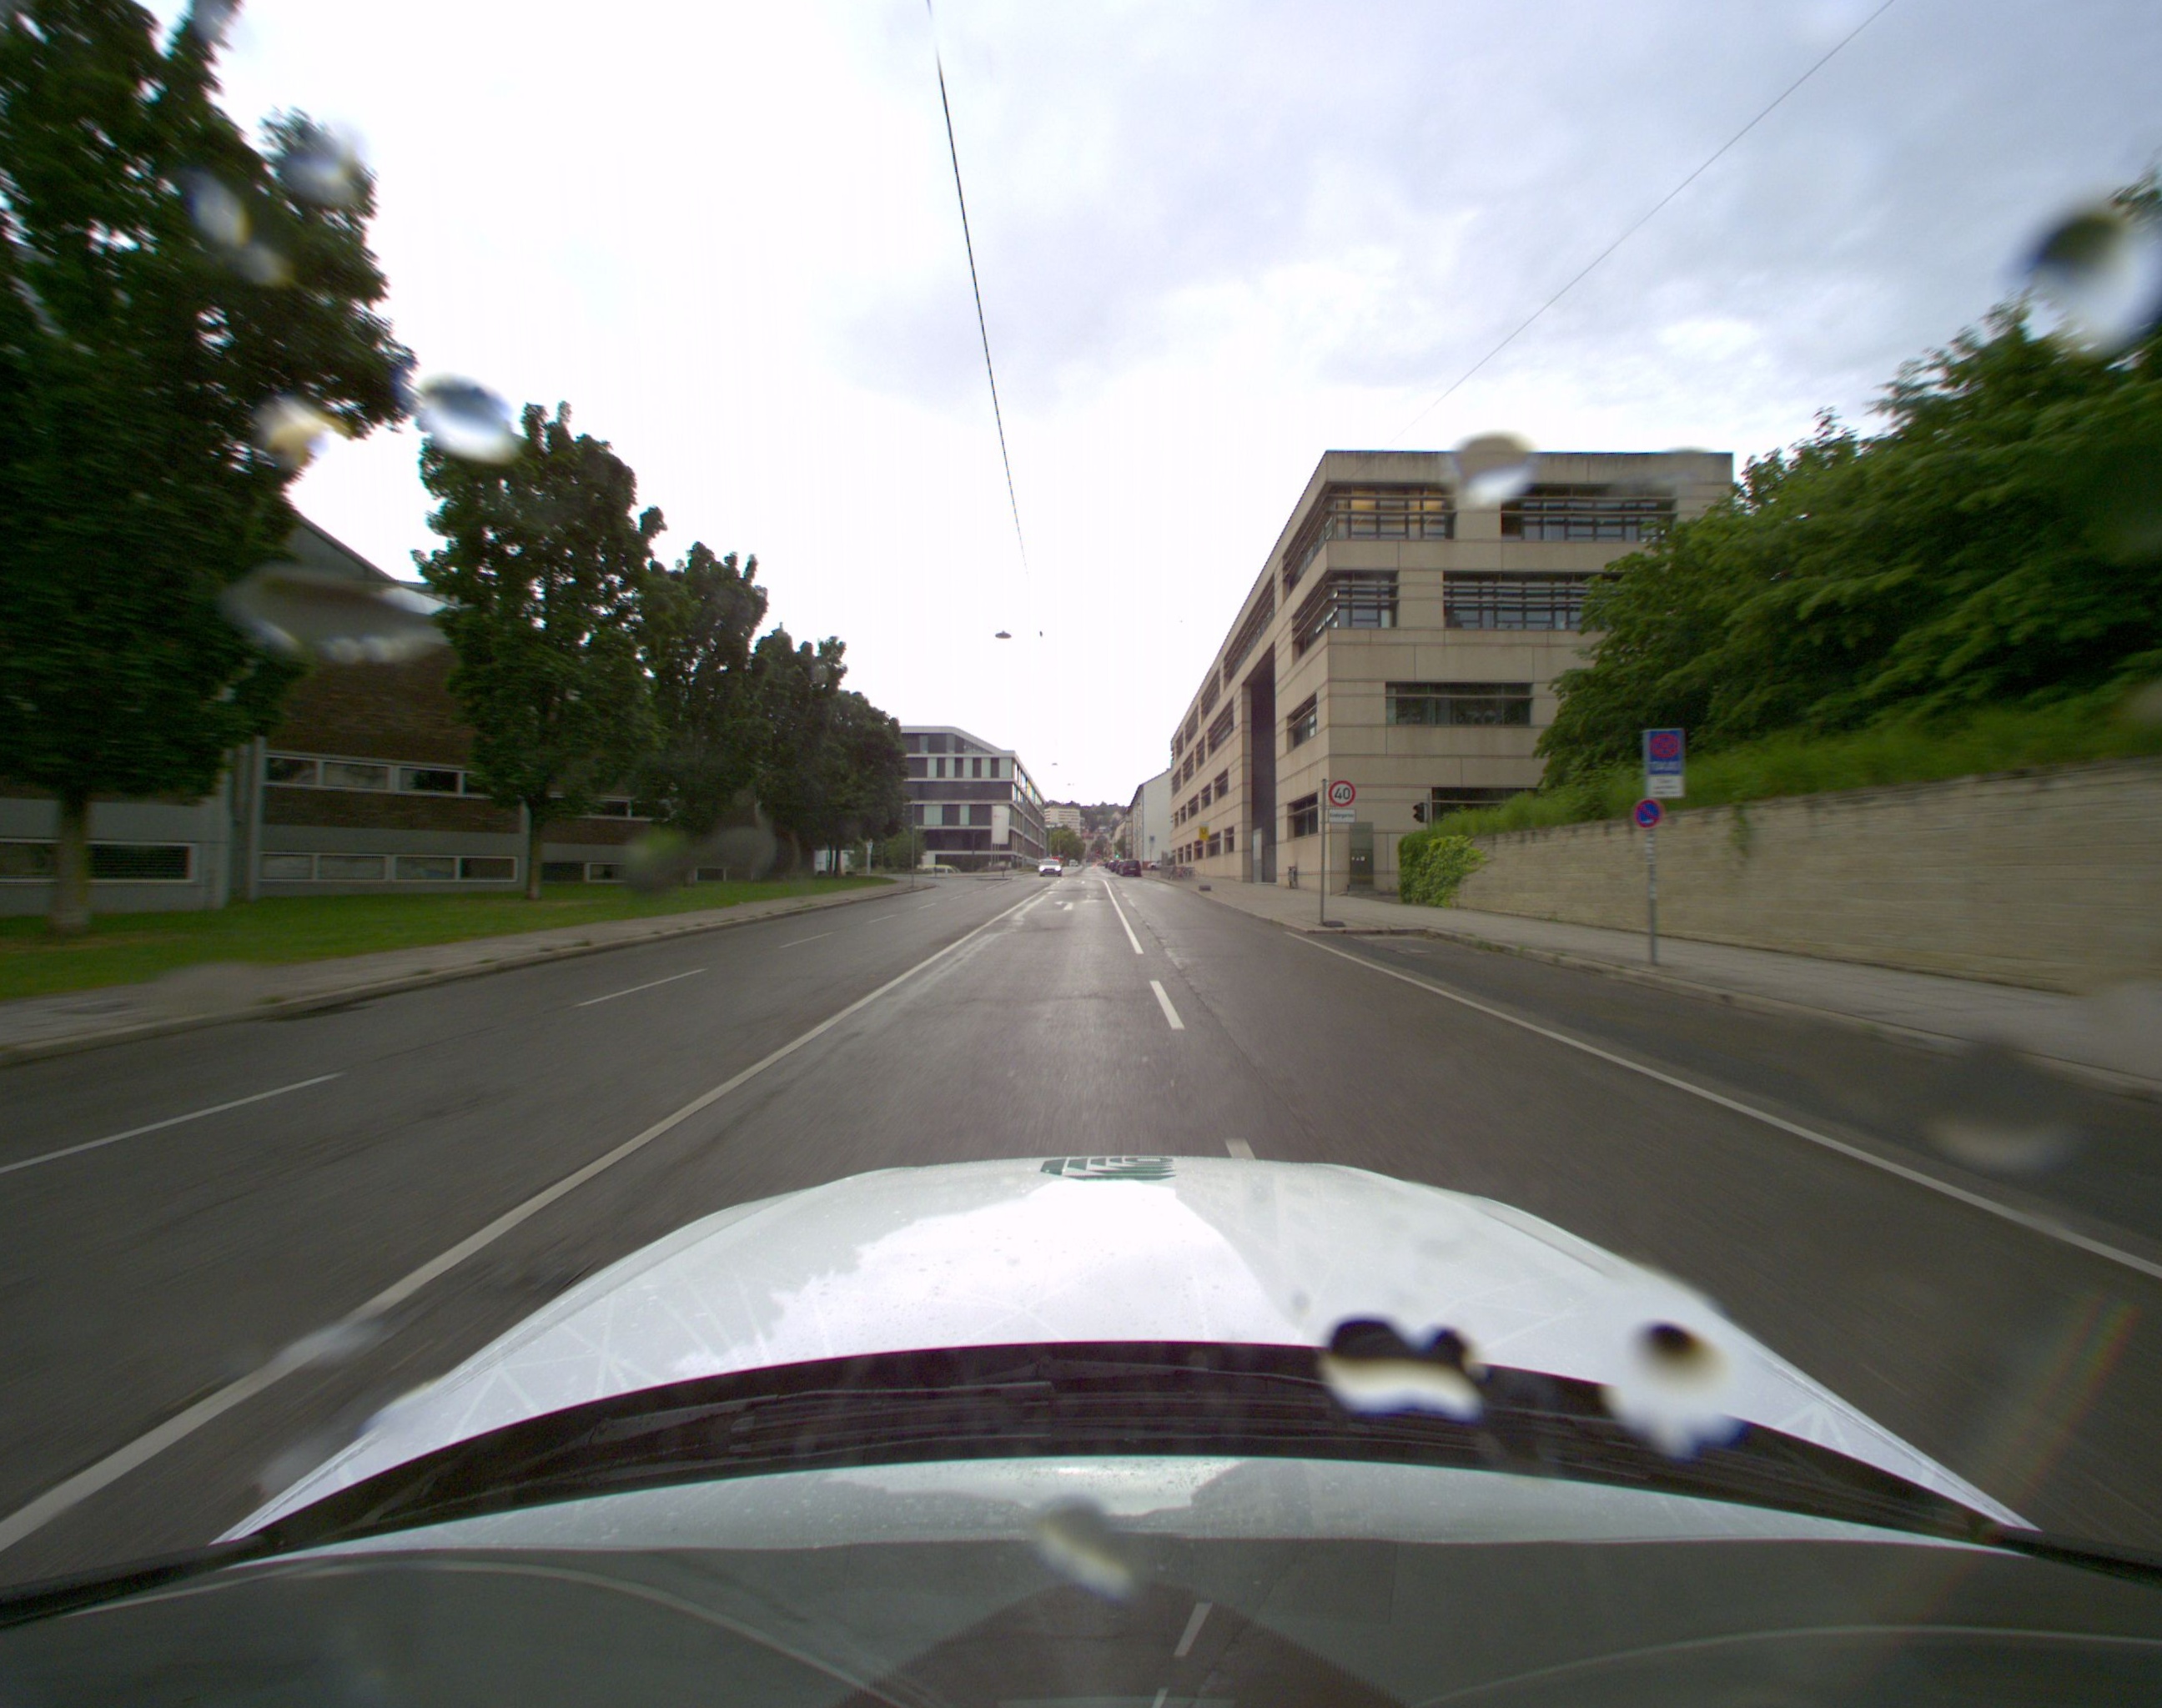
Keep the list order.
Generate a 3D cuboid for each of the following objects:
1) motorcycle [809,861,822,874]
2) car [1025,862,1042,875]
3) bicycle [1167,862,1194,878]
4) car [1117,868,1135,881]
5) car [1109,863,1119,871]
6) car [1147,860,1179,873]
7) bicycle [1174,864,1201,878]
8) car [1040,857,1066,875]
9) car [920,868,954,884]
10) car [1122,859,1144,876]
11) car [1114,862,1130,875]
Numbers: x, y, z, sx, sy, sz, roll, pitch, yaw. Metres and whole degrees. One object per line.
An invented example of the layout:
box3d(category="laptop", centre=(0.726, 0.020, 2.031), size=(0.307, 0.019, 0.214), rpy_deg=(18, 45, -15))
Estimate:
box3d(category="motorcycle", centre=(-23.042, 1.149, 70.700), size=(1.155, 1.125, 0.415), rpy_deg=(-2, -4, 38))
box3d(category="car", centre=(-6.203, 1.863, 106.441), size=(1.843, 1.618, 4.491), rpy_deg=(1, -2, 1))
box3d(category="bicycle", centre=(6.807, 1.089, 55.548), size=(1.726, 1.119, 0.658), rpy_deg=(1, -2, -5))
box3d(category="car", centre=(5.194, 2.378, 94.357), size=(1.738, 1.533, 4.317), rpy_deg=(2, -2, -1))
box3d(category="car", centre=(5.903, 2.366, 145.479), size=(1.700, 1.454, 3.984), rpy_deg=(1, -2, 1))
box3d(category="car", centre=(12.004, 1.827, 119.758), size=(4.424, 1.713, 1.904), rpy_deg=(-2, -2, 0))
box3d(category="bicycle", centre=(7.143, 1.133, 54.565), size=(1.754, 0.953, 0.659), rpy_deg=(1, -2, -3))
box3d(category="car", centre=(-2.542, 1.117, 74.637), size=(1.873, 1.491, 5.224), rpy_deg=(-2, -1, 3))
box3d(category="car", centre=(-20.998, 3.235, 118.788), size=(4.583, 2.174, 1.927), rpy_deg=(2, -2, -5))
box3d(category="car", centre=(4.953, 1.318, 78.369), size=(1.765, 1.604, 4.392), rpy_deg=(1, -2, -1))
box3d(category="car", centre=(5.577, 1.963, 110.965), size=(1.929, 1.750, 4.796), rpy_deg=(1, -2, 1))
